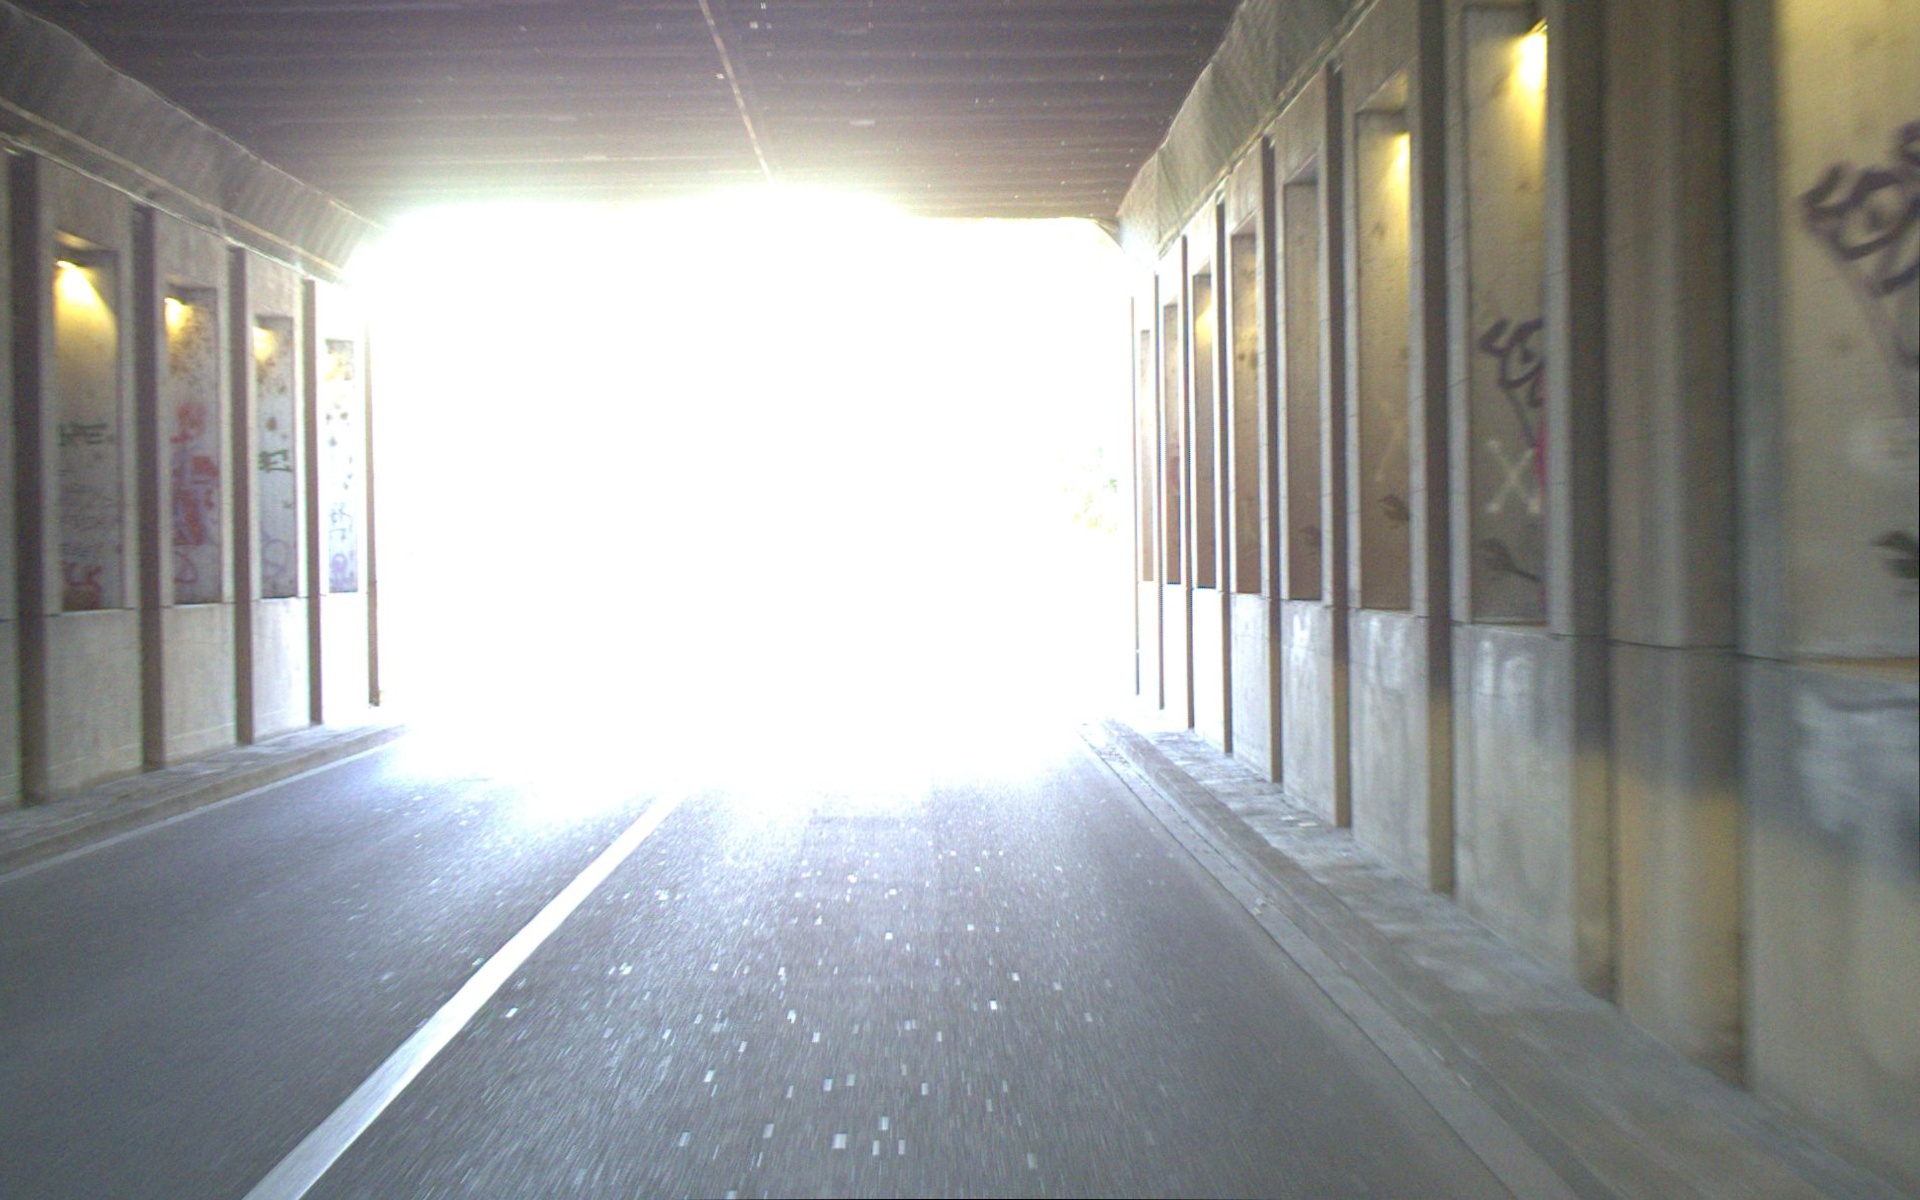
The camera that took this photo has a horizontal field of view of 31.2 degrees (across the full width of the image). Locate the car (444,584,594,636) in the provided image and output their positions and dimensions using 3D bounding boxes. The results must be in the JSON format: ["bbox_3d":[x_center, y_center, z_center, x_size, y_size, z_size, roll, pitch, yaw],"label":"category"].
[{"bbox_3d":[-13.612,0.320,106.160,4.216,1.485,1.874,1,0,26],"label":"car"}]

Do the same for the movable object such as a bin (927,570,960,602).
[{"bbox_3d":[-0.742,-0.643,158.407,1.364,1.413,1.066,2,0,-8],"label":"movable object such as a bin"}]
